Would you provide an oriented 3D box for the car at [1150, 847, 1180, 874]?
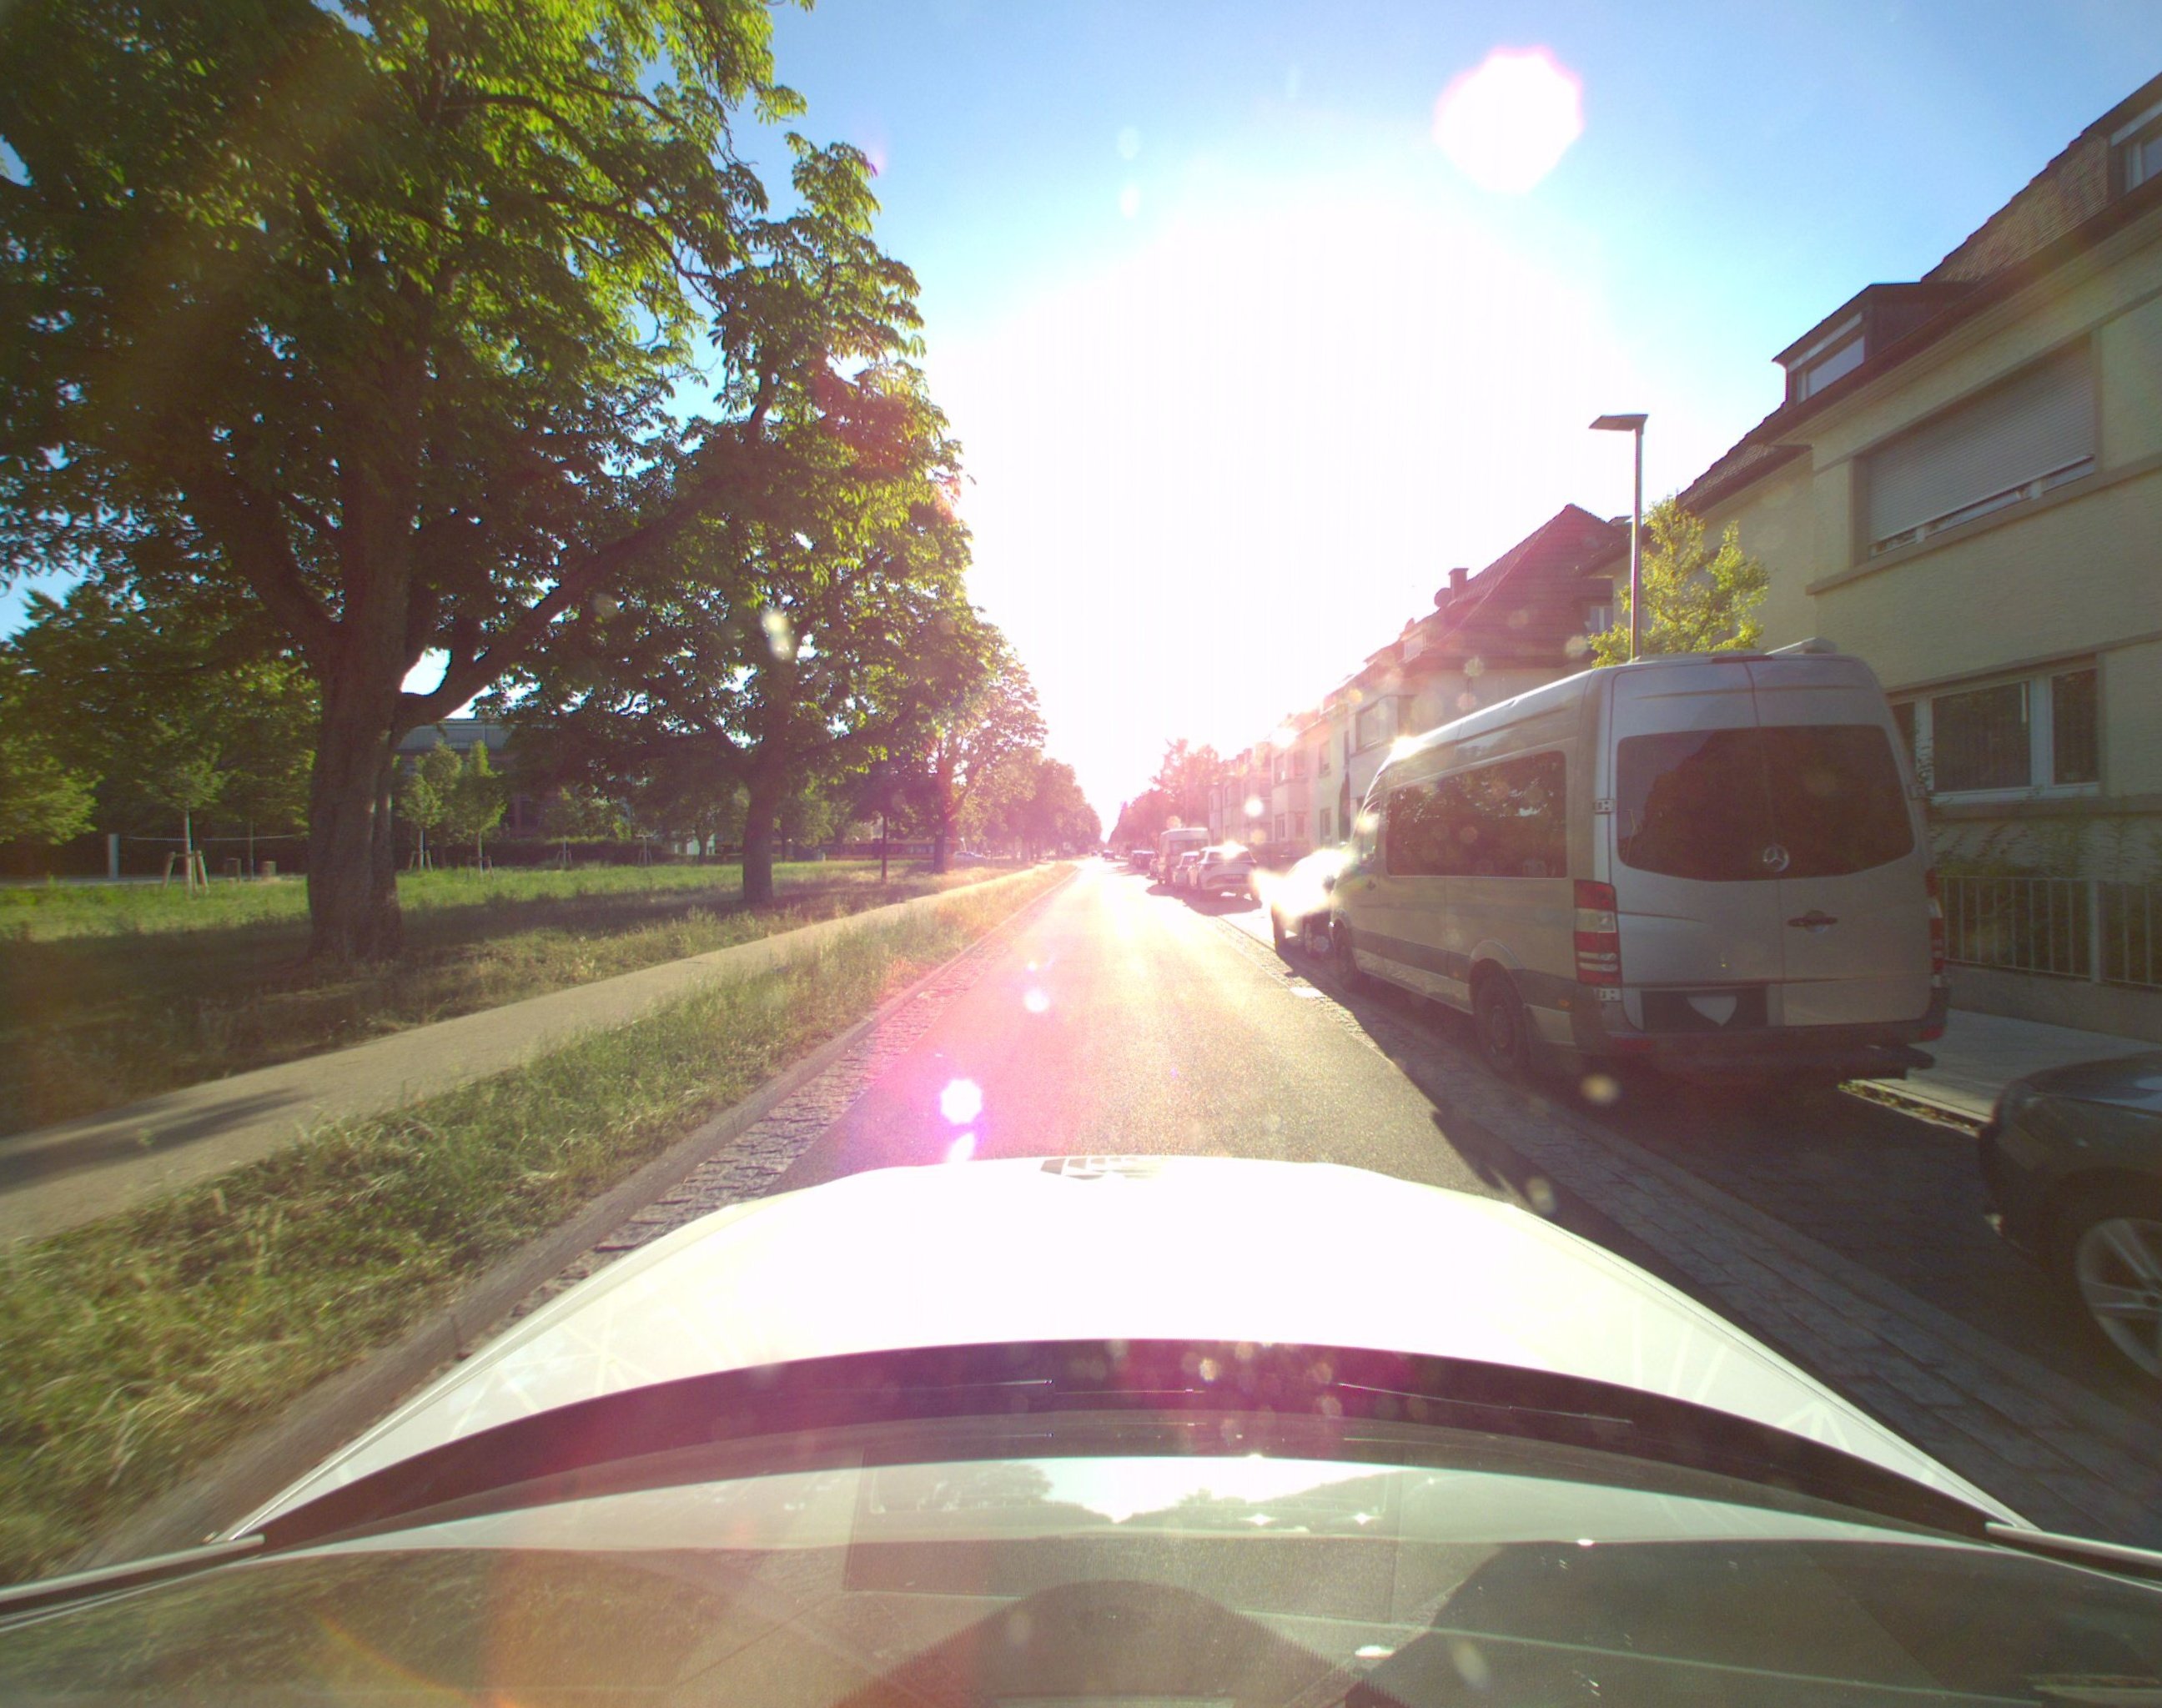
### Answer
[{"bbox_3d":[5.129,0.384,50.100,1.643,1.530,3.854,-2,0,3],"label":"car"}]

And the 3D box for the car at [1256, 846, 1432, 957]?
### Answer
[{"bbox_3d":[4.069,0.659,13.256,1.615,1.411,3.970,-4,0,2],"label":"car"}]

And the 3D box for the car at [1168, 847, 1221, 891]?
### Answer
[{"bbox_3d":[4.313,0.518,31.445,1.643,1.530,3.854,-2,0,3],"label":"car"}]

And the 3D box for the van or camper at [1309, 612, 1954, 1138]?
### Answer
[{"bbox_3d":[3.743,0.117,7.289,1.936,2.777,5.942,0,0,2],"label":"van or camper"}]

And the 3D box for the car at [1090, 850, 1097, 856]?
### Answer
[{"bbox_3d":[3.613,-0.279,232.219,1.803,1.530,3.854,-2,0,3],"label":"car"}]

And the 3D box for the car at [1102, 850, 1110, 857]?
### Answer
[{"bbox_3d":[5.407,-0.066,177.339,1.643,1.530,3.854,-2,0,3],"label":"car"}]

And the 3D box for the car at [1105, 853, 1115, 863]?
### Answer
[{"bbox_3d":[5.110,0.686,143.538,1.643,1.530,3.854,-2,0,3],"label":"car"}]

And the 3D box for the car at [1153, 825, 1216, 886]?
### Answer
[{"bbox_3d":[4.649,0.039,37.412,2.120,2.532,5.187,-2,0,0],"label":"car"}]

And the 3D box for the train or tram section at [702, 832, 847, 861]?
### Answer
[{"bbox_3d":[-43.658,-0.984,116.625,19.056,3.956,3.634,0,0,-8],"label":"train or tram section"}]

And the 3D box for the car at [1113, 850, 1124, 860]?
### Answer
[{"bbox_3d":[5.800,0.152,125.055,1.643,1.530,3.854,-2,0,3],"label":"car"}]

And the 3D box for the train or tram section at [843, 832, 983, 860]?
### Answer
[{"bbox_3d":[-24.339,-1.121,119.133,19.762,3.956,3.635,0,0,-7],"label":"train or tram section"}]

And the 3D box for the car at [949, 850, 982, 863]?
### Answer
[{"bbox_3d":[-15.681,0.319,110.802,4.342,1.764,1.995,0,0,-7],"label":"car"}]

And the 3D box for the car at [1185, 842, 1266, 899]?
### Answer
[{"bbox_3d":[4.504,0.467,26.025,1.831,1.636,4.131,-2,0,0],"label":"car"}]

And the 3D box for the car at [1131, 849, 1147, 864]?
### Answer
[{"bbox_3d":[6.120,0.236,86.187,1.643,1.530,3.854,-2,0,3],"label":"car"}]

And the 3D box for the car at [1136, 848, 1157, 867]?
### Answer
[{"bbox_3d":[5.564,0.285,69.149,1.643,1.530,3.854,-2,0,3],"label":"car"}]

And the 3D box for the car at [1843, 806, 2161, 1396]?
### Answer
[{"bbox_3d":[3.714,0.678,1.099,1.657,1.593,4.088,0,0,2],"label":"car"}]
